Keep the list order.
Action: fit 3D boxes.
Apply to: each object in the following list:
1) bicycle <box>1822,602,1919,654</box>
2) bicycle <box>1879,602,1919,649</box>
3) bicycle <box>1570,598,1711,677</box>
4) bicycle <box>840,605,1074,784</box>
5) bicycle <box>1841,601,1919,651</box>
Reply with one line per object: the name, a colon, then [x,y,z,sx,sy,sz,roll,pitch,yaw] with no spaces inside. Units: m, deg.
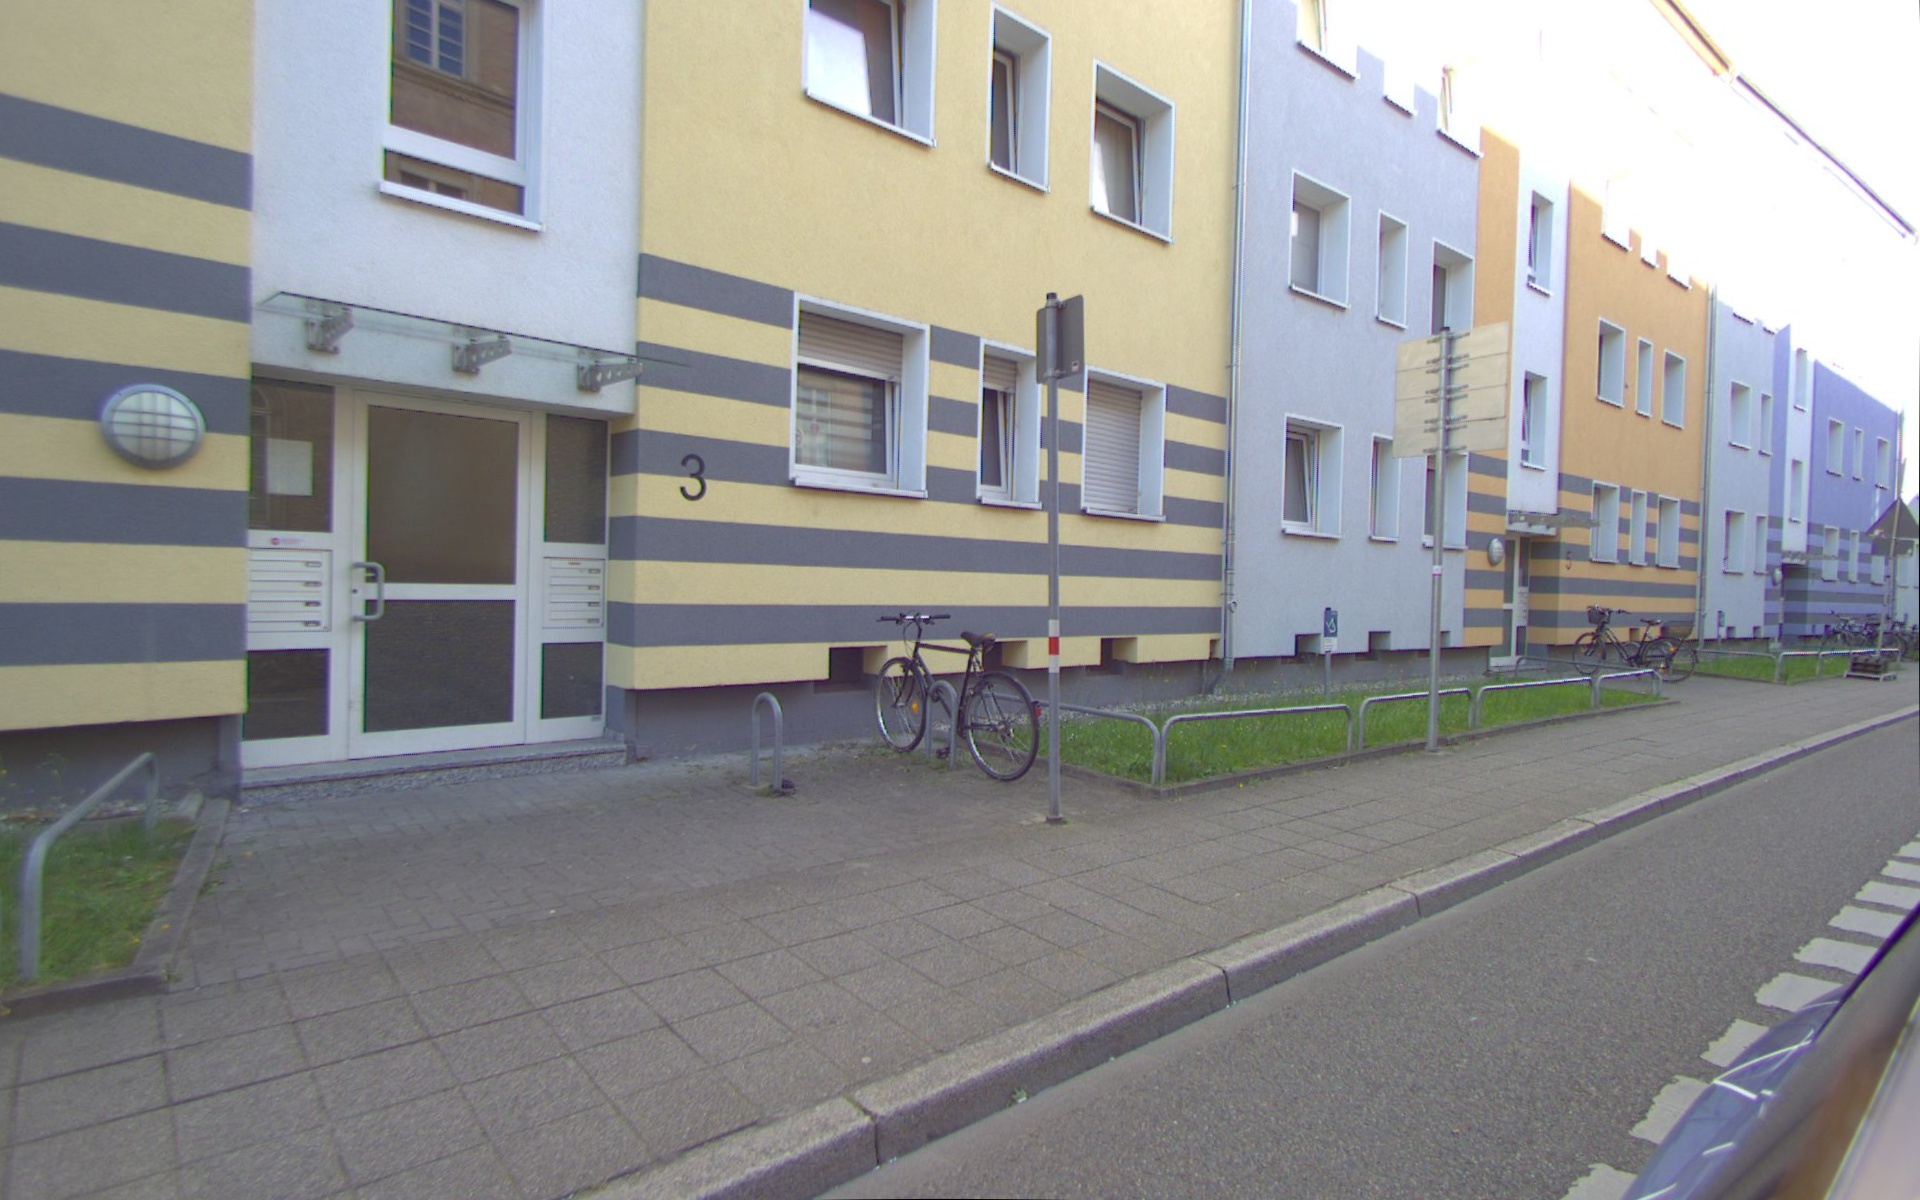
bicycle: [22.227,0.657,24.730,0.475,1.166,1.678,1,1,-37]
bicycle: [24.136,0.651,25.279,0.475,1.166,1.678,1,1,-37]
bicycle: [10.689,0.559,15.947,1.775,1.137,0.476,3,1,44]
bicycle: [-0.072,0.585,7.018,1.775,1.031,0.476,3,1,44]
bicycle: [23.308,0.640,25.423,0.475,1.166,1.678,1,1,-37]
